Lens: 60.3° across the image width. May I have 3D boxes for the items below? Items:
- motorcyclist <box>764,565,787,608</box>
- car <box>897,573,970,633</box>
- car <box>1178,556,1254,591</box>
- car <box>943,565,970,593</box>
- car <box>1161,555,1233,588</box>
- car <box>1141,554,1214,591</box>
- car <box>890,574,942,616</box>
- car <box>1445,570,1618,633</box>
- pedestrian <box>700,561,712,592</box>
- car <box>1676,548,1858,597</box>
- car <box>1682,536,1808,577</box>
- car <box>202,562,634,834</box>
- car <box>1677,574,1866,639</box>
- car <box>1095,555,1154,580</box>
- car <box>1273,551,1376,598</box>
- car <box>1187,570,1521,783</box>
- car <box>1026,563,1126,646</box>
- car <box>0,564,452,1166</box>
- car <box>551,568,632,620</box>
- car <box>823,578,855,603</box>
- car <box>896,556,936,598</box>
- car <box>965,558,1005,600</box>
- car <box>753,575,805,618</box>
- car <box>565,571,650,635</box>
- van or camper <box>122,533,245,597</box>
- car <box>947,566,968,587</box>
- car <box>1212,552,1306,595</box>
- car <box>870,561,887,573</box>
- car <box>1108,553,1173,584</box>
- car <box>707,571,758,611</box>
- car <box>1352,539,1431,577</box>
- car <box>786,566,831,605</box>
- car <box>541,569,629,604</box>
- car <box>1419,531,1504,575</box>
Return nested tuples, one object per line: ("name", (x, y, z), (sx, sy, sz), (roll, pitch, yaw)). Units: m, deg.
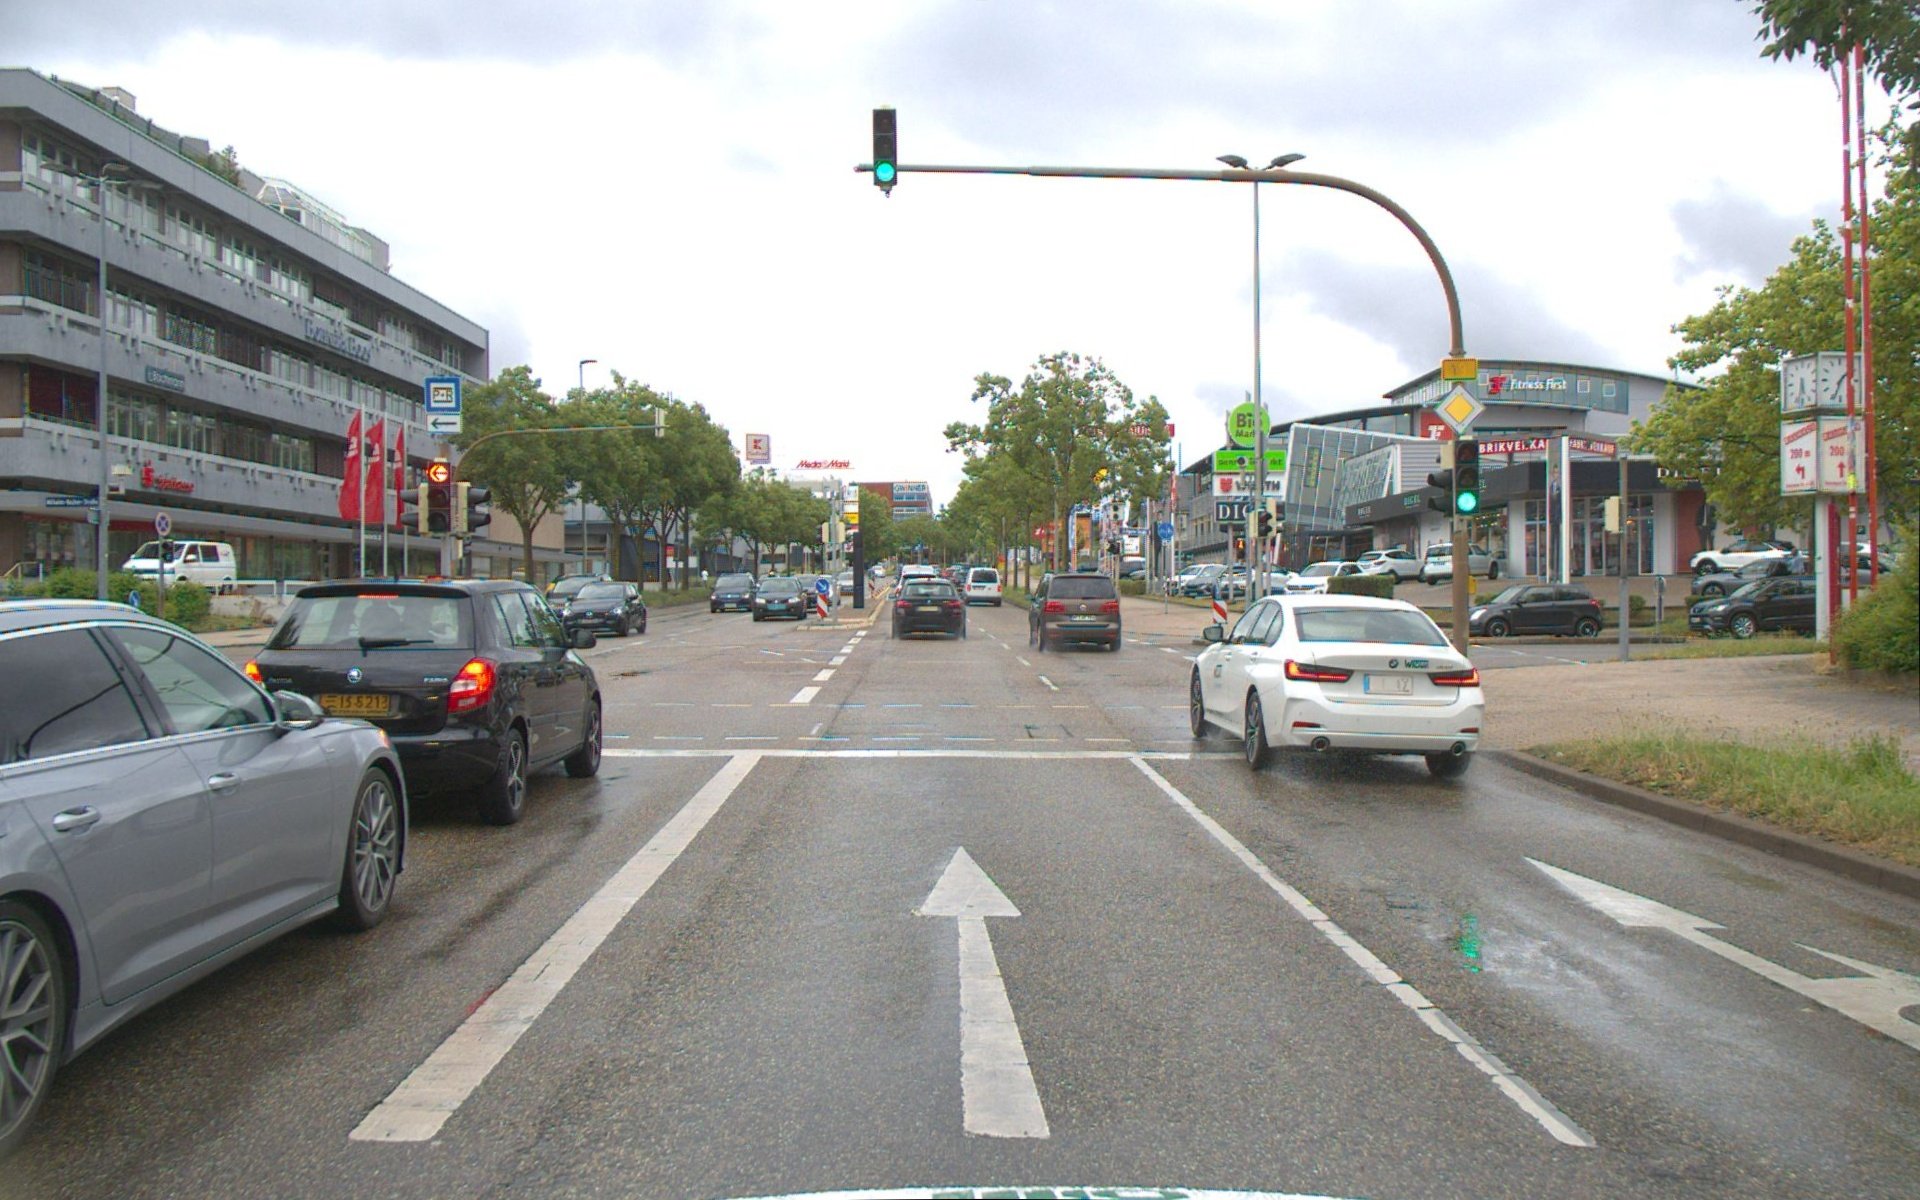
("motorcyclist", (-6.874, -0.504, 61.685), (0.790, 1.586, 1.267), (0, 1, -3))
("car", (-0.677, 0.044, 41.379), (1.745, 1.422, 3.999), (0, 1, -1))
("car", (12.013, -1.239, 77.421), (3.566, 1.562, 1.619), (-2, 1, -41))
("car", (-0.223, -1.350, 106.398), (1.650, 1.713, 3.402), (1, 0, 0))
("car", (12.233, -1.468, 85.125), (3.567, 1.562, 1.770), (-2, 2, -41))
("car", (12.585, -1.595, 95.796), (4.026, 2.142, 1.800), (0, 1, 0))
("car", (-1.585, -0.195, 58.247), (1.649, 1.401, 3.997), (-1, 1, -4))
("car", (15.021, 0.037, 43.594), (3.898, 1.515, 1.817), (-1, 0, -1))
("pedestrian", (-18.633, -1.697, 121.351), (0.842, 2.257, 0.845), (0, 1, -4))
("car", (26.002, -0.871, 53.395), (4.925, 1.512, 1.986), (0, 2, 45))
("car", (30.440, -1.687, 64.198), (1.723, 1.506, 4.092), (-1, 1, -41))
("car", (-3.475, 0.527, 11.427), (1.678, 1.515, 4.077), (-1, 1, -1))
("car", (21.124, 0.168, 43.171), (4.053, 1.575, 1.739), (1, 0, 4))
("car", (11.349, -2.260, 114.136), (4.024, 1.733, 1.801), (0, 1, 5))
("car", (13.196, -0.935, 59.704), (1.897, 1.604, 4.265), (0, 1, 40))
("car", (3.306, 0.555, 14.849), (1.765, 1.571, 4.619), (1, 1, -1))
("car", (2.423, 0.051, 35.486), (1.764, 1.614, 4.450), (1, 1, 0))
("car", (-3.261, 0.647, 5.477), (1.729, 1.484, 4.780), (-1, 1, -1))
("car", (-13.069, -0.241, 58.926), (1.872, 1.757, 4.883), (-1, 1, -1))
("car", (-7.674, -0.617, 105.214), (1.688, 1.422, 4.788), (-3, 1, -1))
("car", (-2.190, -1.126, 83.215), (1.953, 2.049, 3.999), (1, 0, -1))
("car", (1.188, -1.011, 79.594), (1.746, 1.899, 3.999), (-1, 1, -1))
("car", (-6.218, -0.155, 57.092), (1.649, 1.401, 3.997), (-1, 1, -4))
("car", (-9.474, 0.047, 44.684), (1.677, 1.608, 3.997), (-1, 1, -4))
("van or camper", (-26.262, -1.146, 56.158), (1.953, 2.001, 4.787), (1, 0, -1))
("car", (-0.217, -1.938, 135.693), (1.660, 1.468, 3.990), (-1, 3, 0))
("car", (12.973, -1.163, 71.693), (3.991, 1.691, 1.953), (-4, 3, -41))
("car", (-9.853, -3.966, 199.755), (1.904, 1.473, 3.999), (0, 1, -2))
("car", (11.636, -2.025, 106.910), (4.026, 1.938, 1.800), (-1, 1, 0))
("car", (-9.818, -0.419, 71.575), (1.873, 1.636, 4.360), (-1, 1, -4))
("car", (21.093, -2.055, 80.729), (4.117, 1.802, 1.712), (-2, 1, -41))
("car", (-6.065, -0.594, 66.649), (1.710, 1.515, 4.825), (-1, 1, -4))
("car", (-17.681, -0.618, 77.931), (3.917, 1.579, 1.894), (0, 1, 34))
("car", (21.572, -2.016, 71.066), (4.123, 1.802, 1.710), (-2, 1, -44))
